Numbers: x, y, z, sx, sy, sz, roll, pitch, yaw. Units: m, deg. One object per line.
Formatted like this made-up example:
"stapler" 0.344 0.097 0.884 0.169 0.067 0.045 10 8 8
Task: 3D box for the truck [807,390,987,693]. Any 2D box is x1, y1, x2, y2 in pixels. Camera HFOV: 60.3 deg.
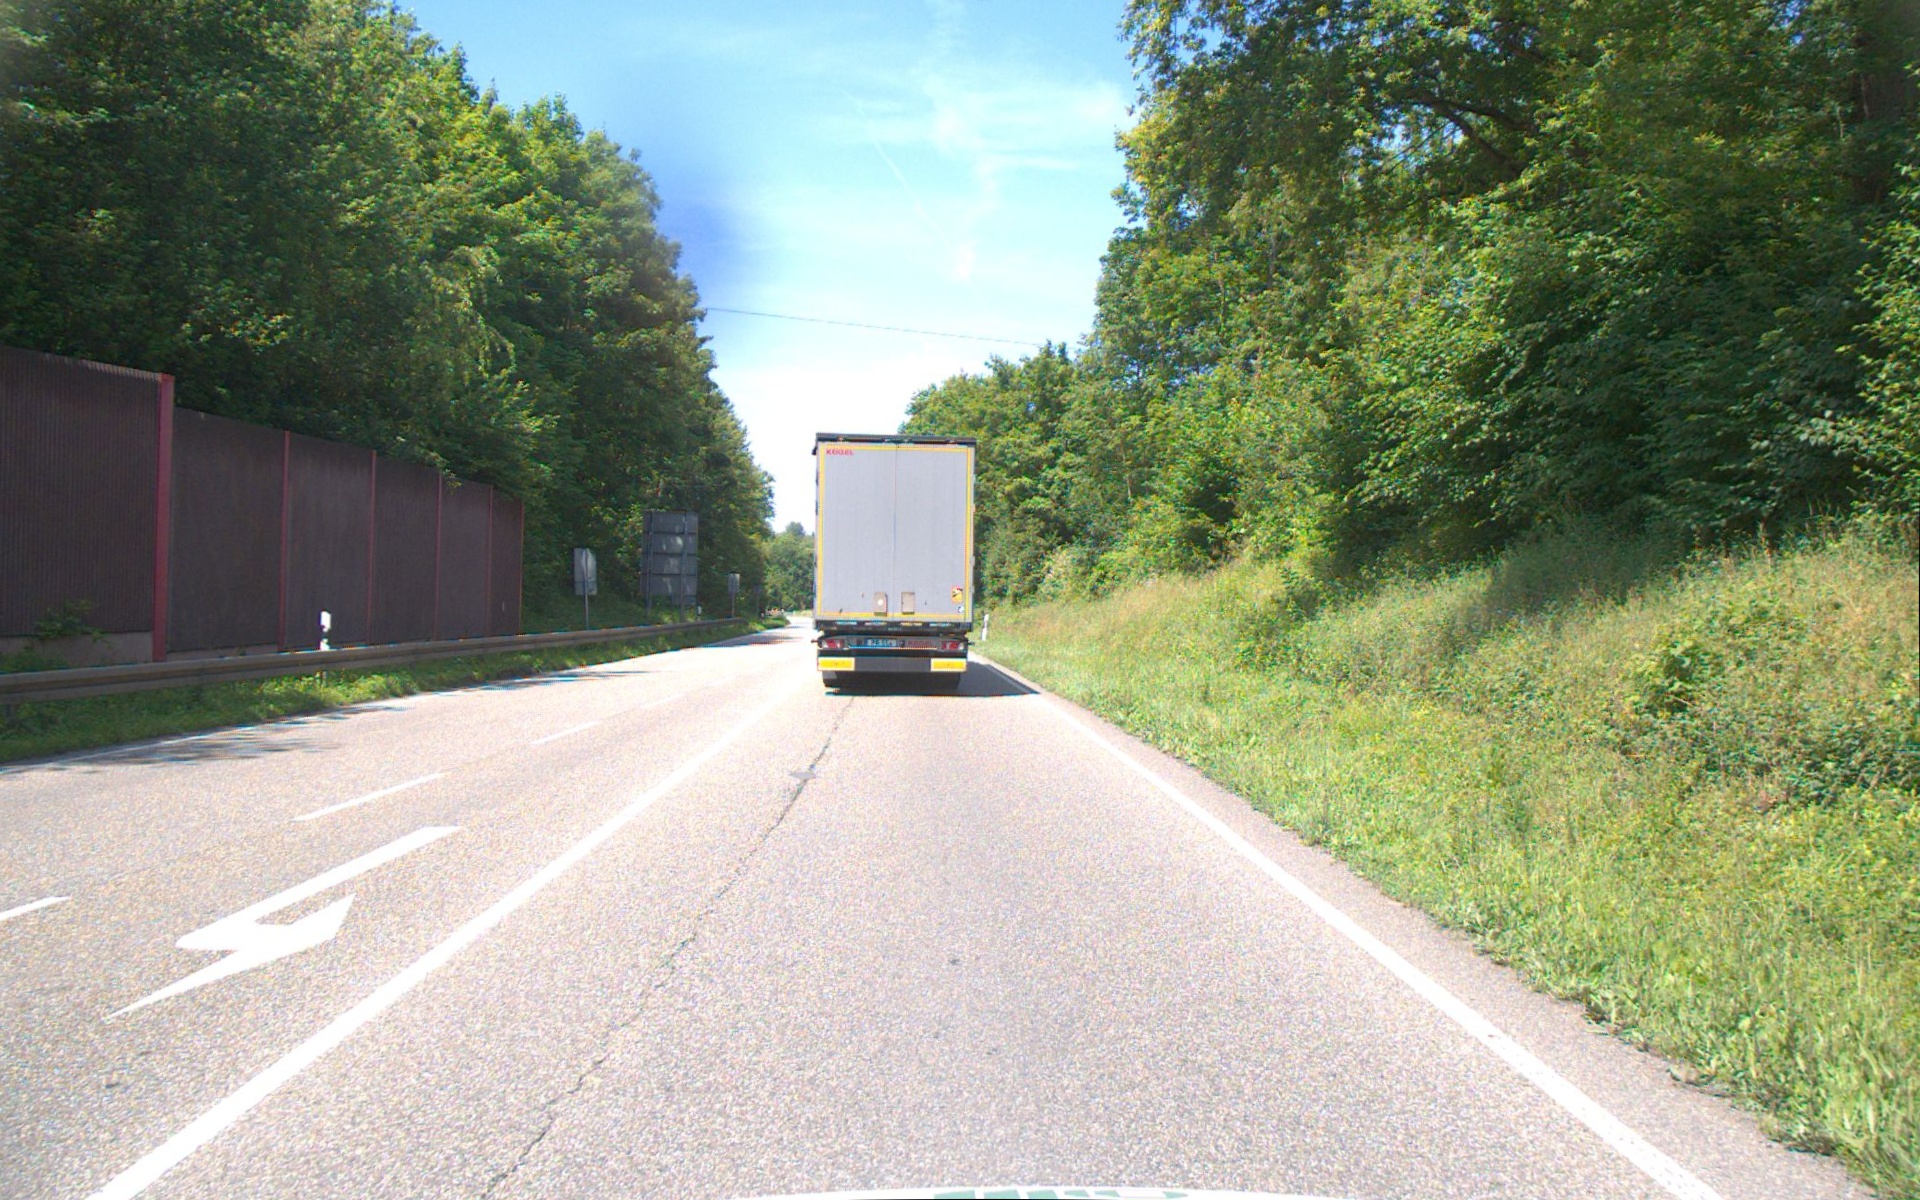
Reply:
"truck" -1.040 -0.966 28.940 2.765 4.684 6.664 0 1 -1
